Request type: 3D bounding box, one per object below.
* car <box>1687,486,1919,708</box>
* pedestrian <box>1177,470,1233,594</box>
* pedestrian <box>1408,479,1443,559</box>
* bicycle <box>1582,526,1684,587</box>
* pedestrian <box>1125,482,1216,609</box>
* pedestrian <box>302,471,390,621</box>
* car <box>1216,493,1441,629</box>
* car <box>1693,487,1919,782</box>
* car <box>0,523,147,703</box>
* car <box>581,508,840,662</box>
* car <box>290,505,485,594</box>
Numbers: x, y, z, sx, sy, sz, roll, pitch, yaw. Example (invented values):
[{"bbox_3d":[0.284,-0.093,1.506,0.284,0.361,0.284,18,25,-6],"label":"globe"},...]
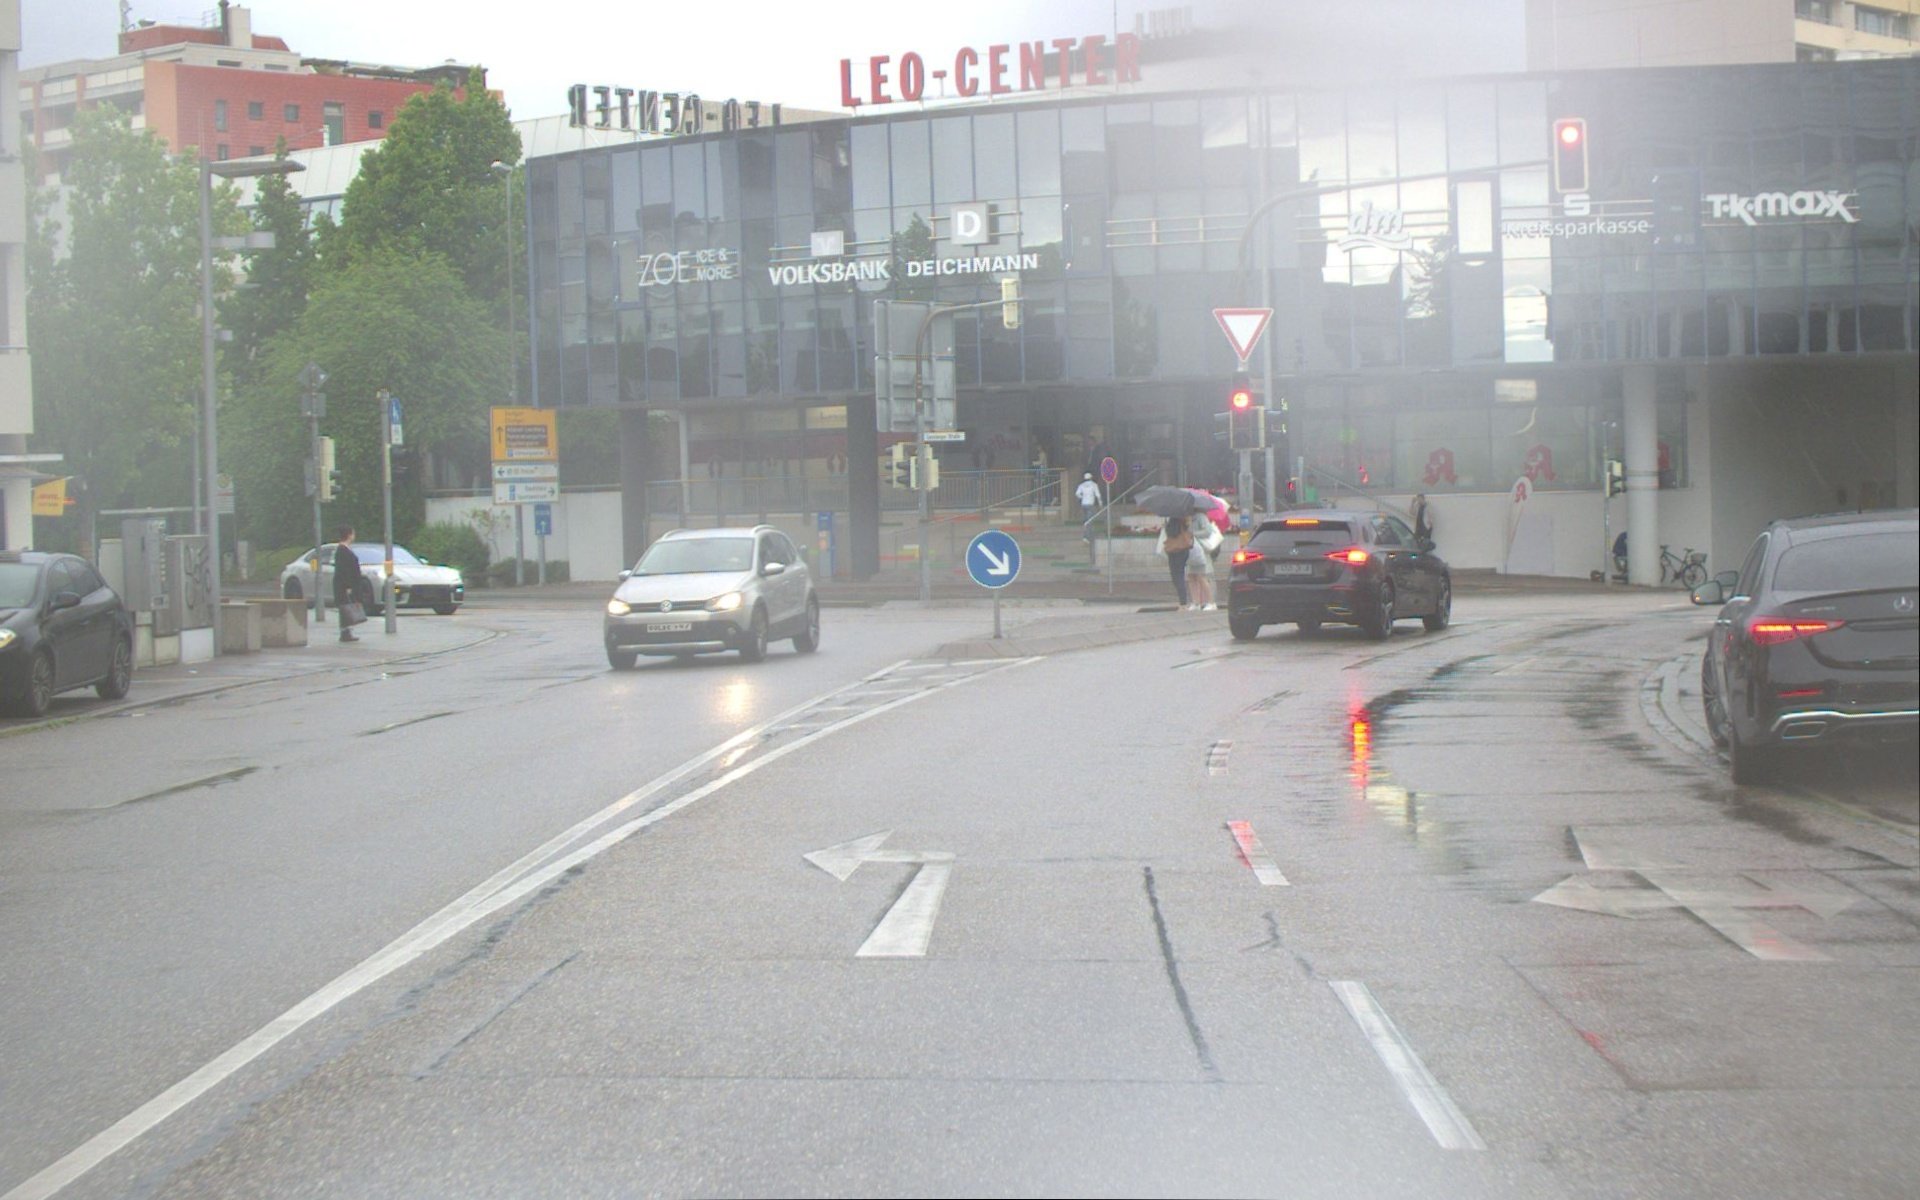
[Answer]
[{"bbox_3d":[6.676,-0.084,26.938,1.699,1.481,3.999,-4,1,10],"label":"car"},{"bbox_3d":[3.358,-0.940,47.178,0.609,1.653,0.672,2,3,-3],"label":"pedestrian"},{"bbox_3d":[11.844,-2.064,87.450,0.788,2.007,0.670,-1,1,12],"label":"pedestrian"},{"bbox_3d":[16.972,-1.110,86.681,2.424,1.459,0.656,-1,3,0],"label":"bicycle"},{"bbox_3d":[2.834,-0.741,46.366,0.908,1.653,0.755,1,3,-26],"label":"pedestrian"},{"bbox_3d":[-8.451,-0.743,47.340,0.749,2.006,0.920,3,2,22],"label":"pedestrian"},{"bbox_3d":[4.283,-0.480,39.456,1.806,1.414,3.997,-1,2,17],"label":"car"},{"bbox_3d":[5.346,0.153,20.085,1.994,1.528,4.645,0,1,11],"label":"car"},{"bbox_3d":[-9.217,0.084,32.424,1.934,1.536,4.273,-1,2,2],"label":"car"},{"bbox_3d":[-2.703,-0.202,38.086,1.826,1.434,3.839,-3,3,12],"label":"car"},{"bbox_3d":[-11.324,-1.009,67.776,1.994,1.506,4.433,0,4,-36],"label":"car"}]
